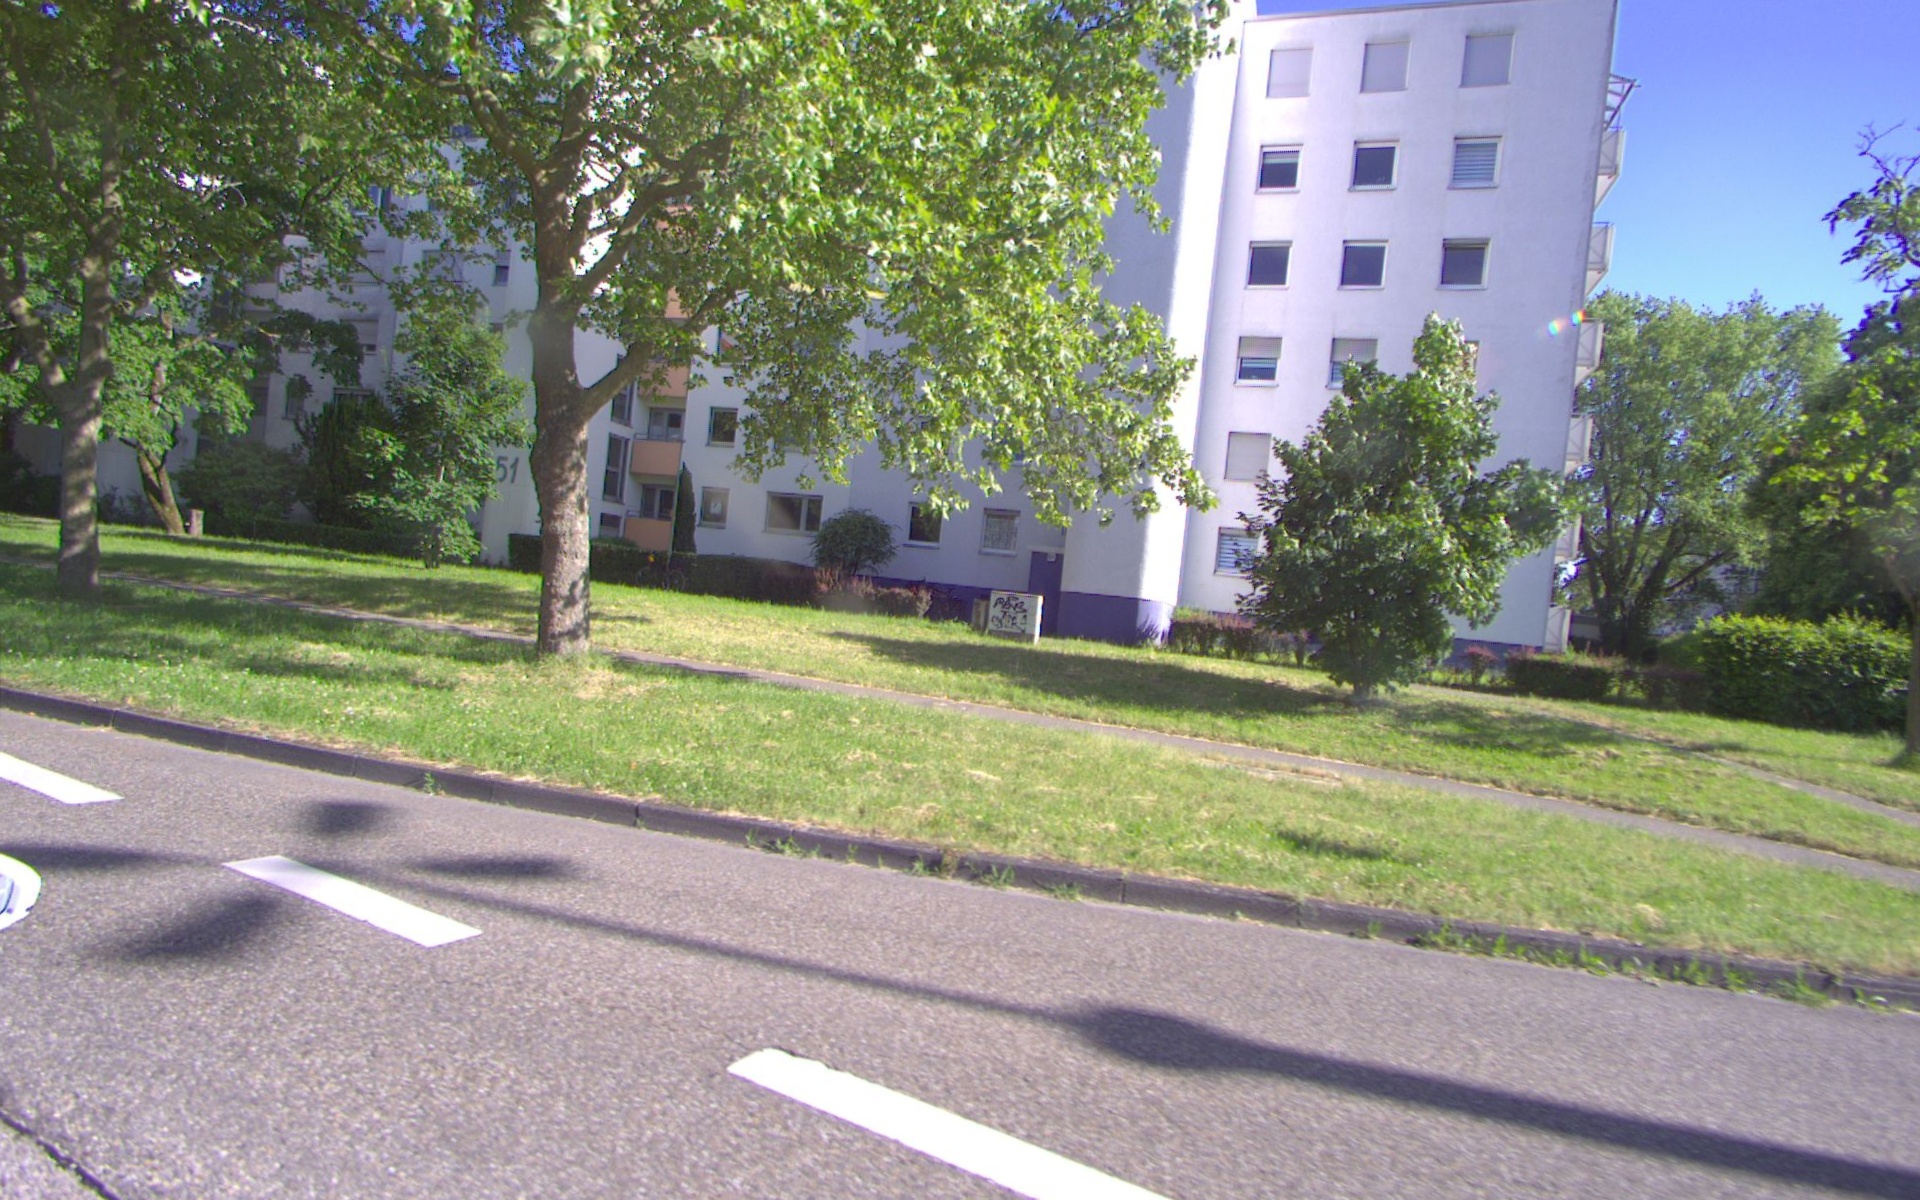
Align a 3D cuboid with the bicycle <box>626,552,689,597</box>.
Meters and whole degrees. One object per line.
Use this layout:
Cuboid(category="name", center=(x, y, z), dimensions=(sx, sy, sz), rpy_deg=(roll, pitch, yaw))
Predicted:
Cuboid(category="bicycle", center=(-8.885, -0.751, 29.504), dimensions=(1.766, 1.124, 0.499), rpy_deg=(7, 6, 18))
